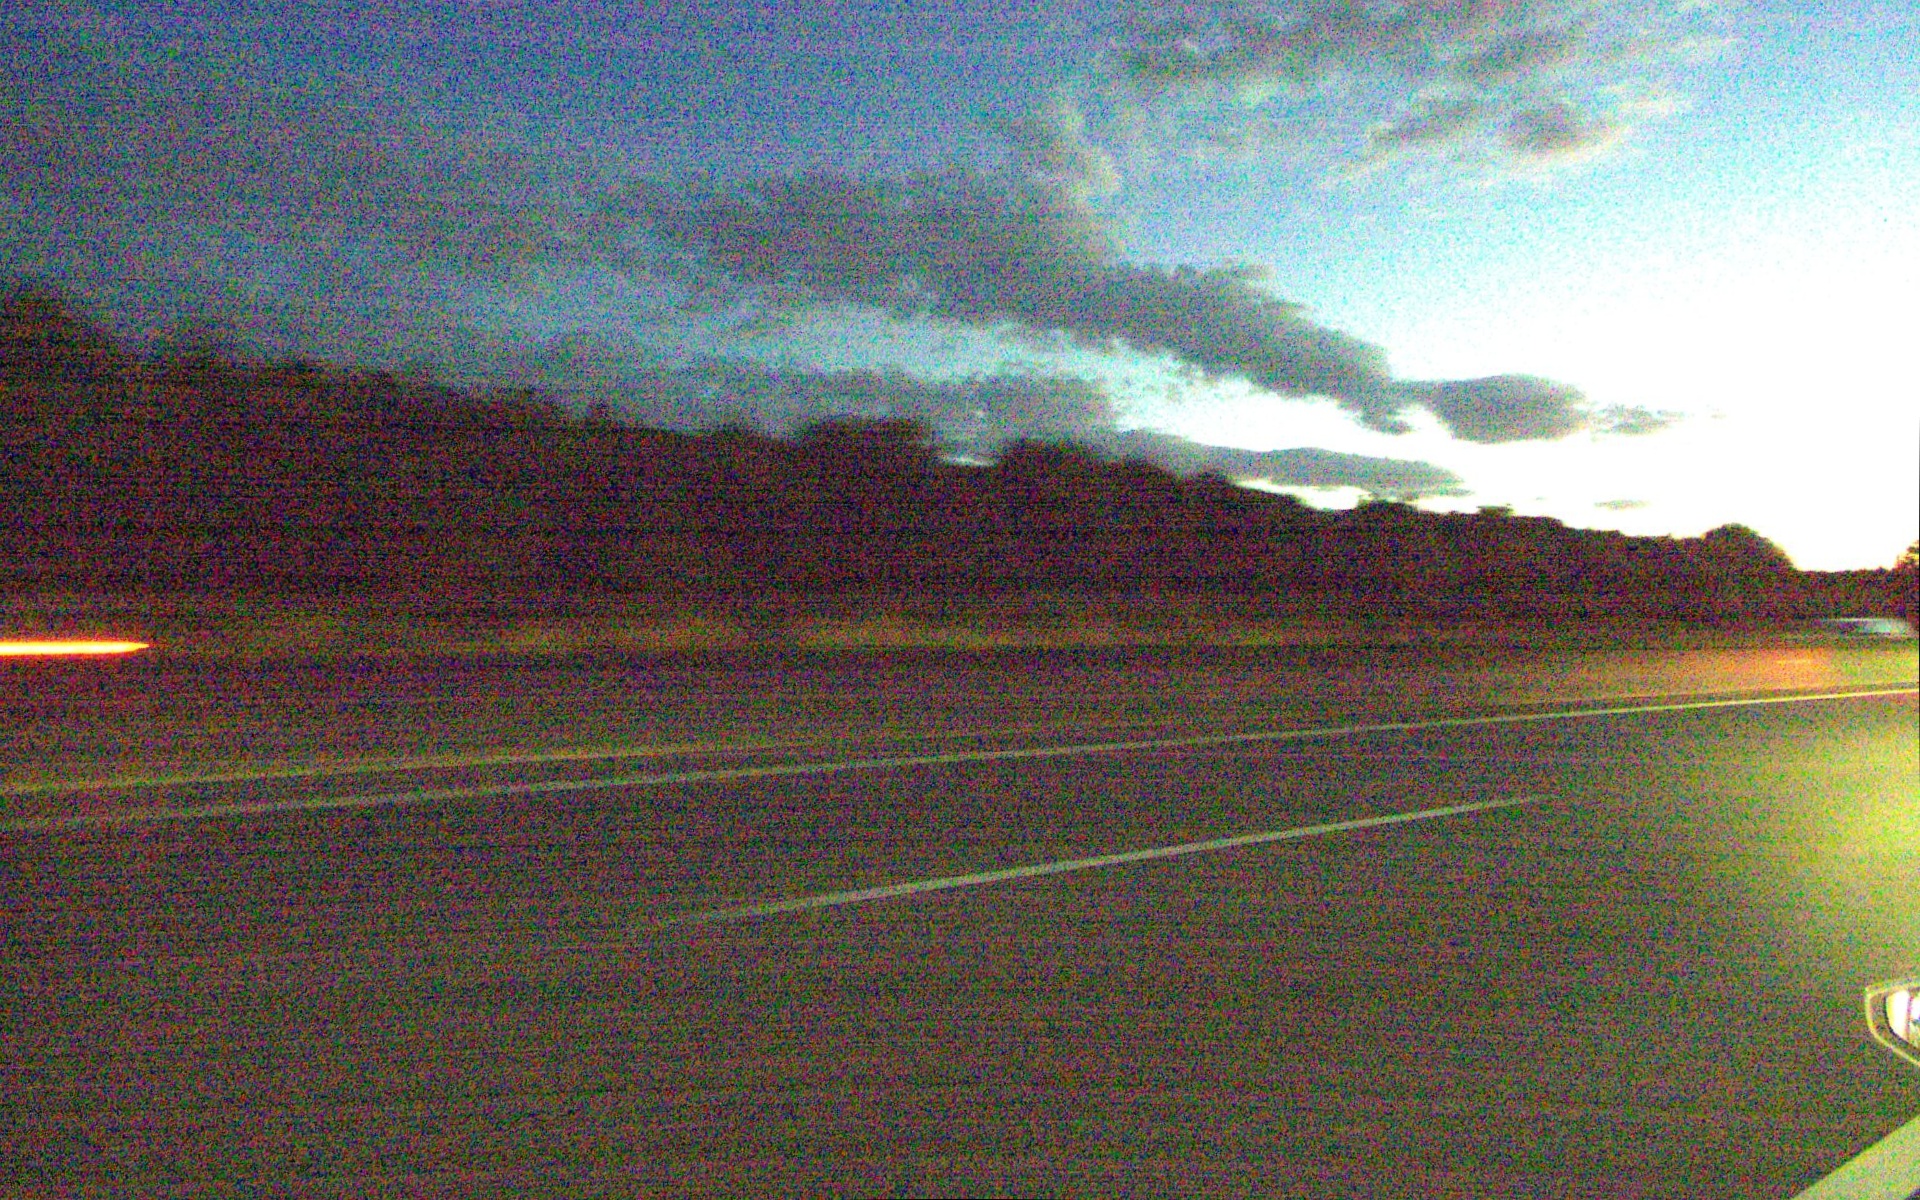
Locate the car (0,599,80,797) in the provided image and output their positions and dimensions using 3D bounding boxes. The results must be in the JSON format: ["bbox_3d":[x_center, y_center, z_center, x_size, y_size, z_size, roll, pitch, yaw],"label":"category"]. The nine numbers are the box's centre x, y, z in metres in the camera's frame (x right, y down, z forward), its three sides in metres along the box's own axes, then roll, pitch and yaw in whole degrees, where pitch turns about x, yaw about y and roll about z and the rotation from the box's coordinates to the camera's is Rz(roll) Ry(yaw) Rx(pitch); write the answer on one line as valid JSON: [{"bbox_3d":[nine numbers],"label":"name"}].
[{"bbox_3d":[-12.178,0.958,10.020,4.707,1.981,2.186,1,0,-30],"label":"car"}]

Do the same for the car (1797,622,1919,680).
[{"bbox_3d":[33.422,1.842,37.243,4.707,1.981,2.186,1,0,-30],"label":"car"}]
